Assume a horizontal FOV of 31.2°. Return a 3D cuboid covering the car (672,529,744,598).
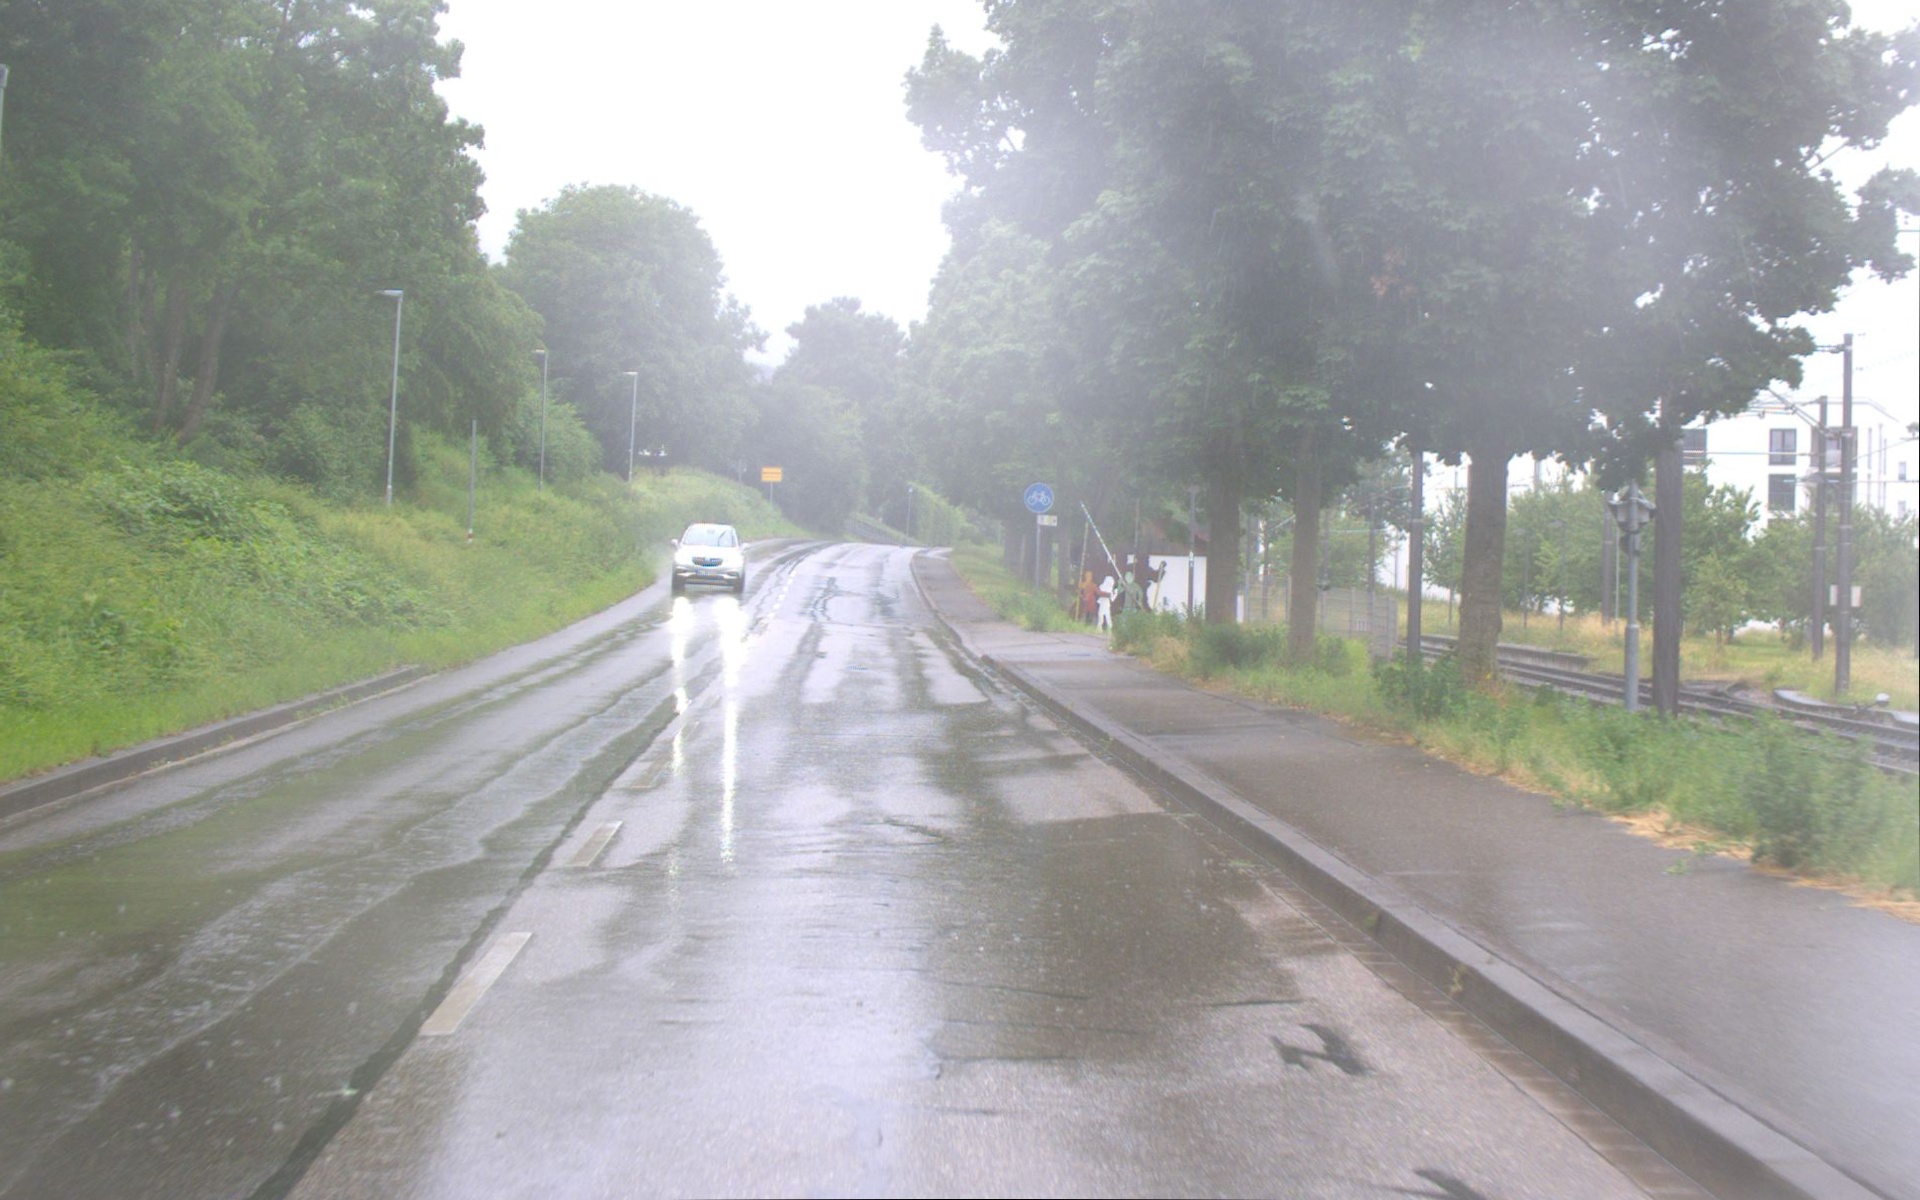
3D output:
[{"bbox_3d":[-6.405,-0.957,87.439,1.744,1.606,4.089,2,2,-4],"label":"car"}]
